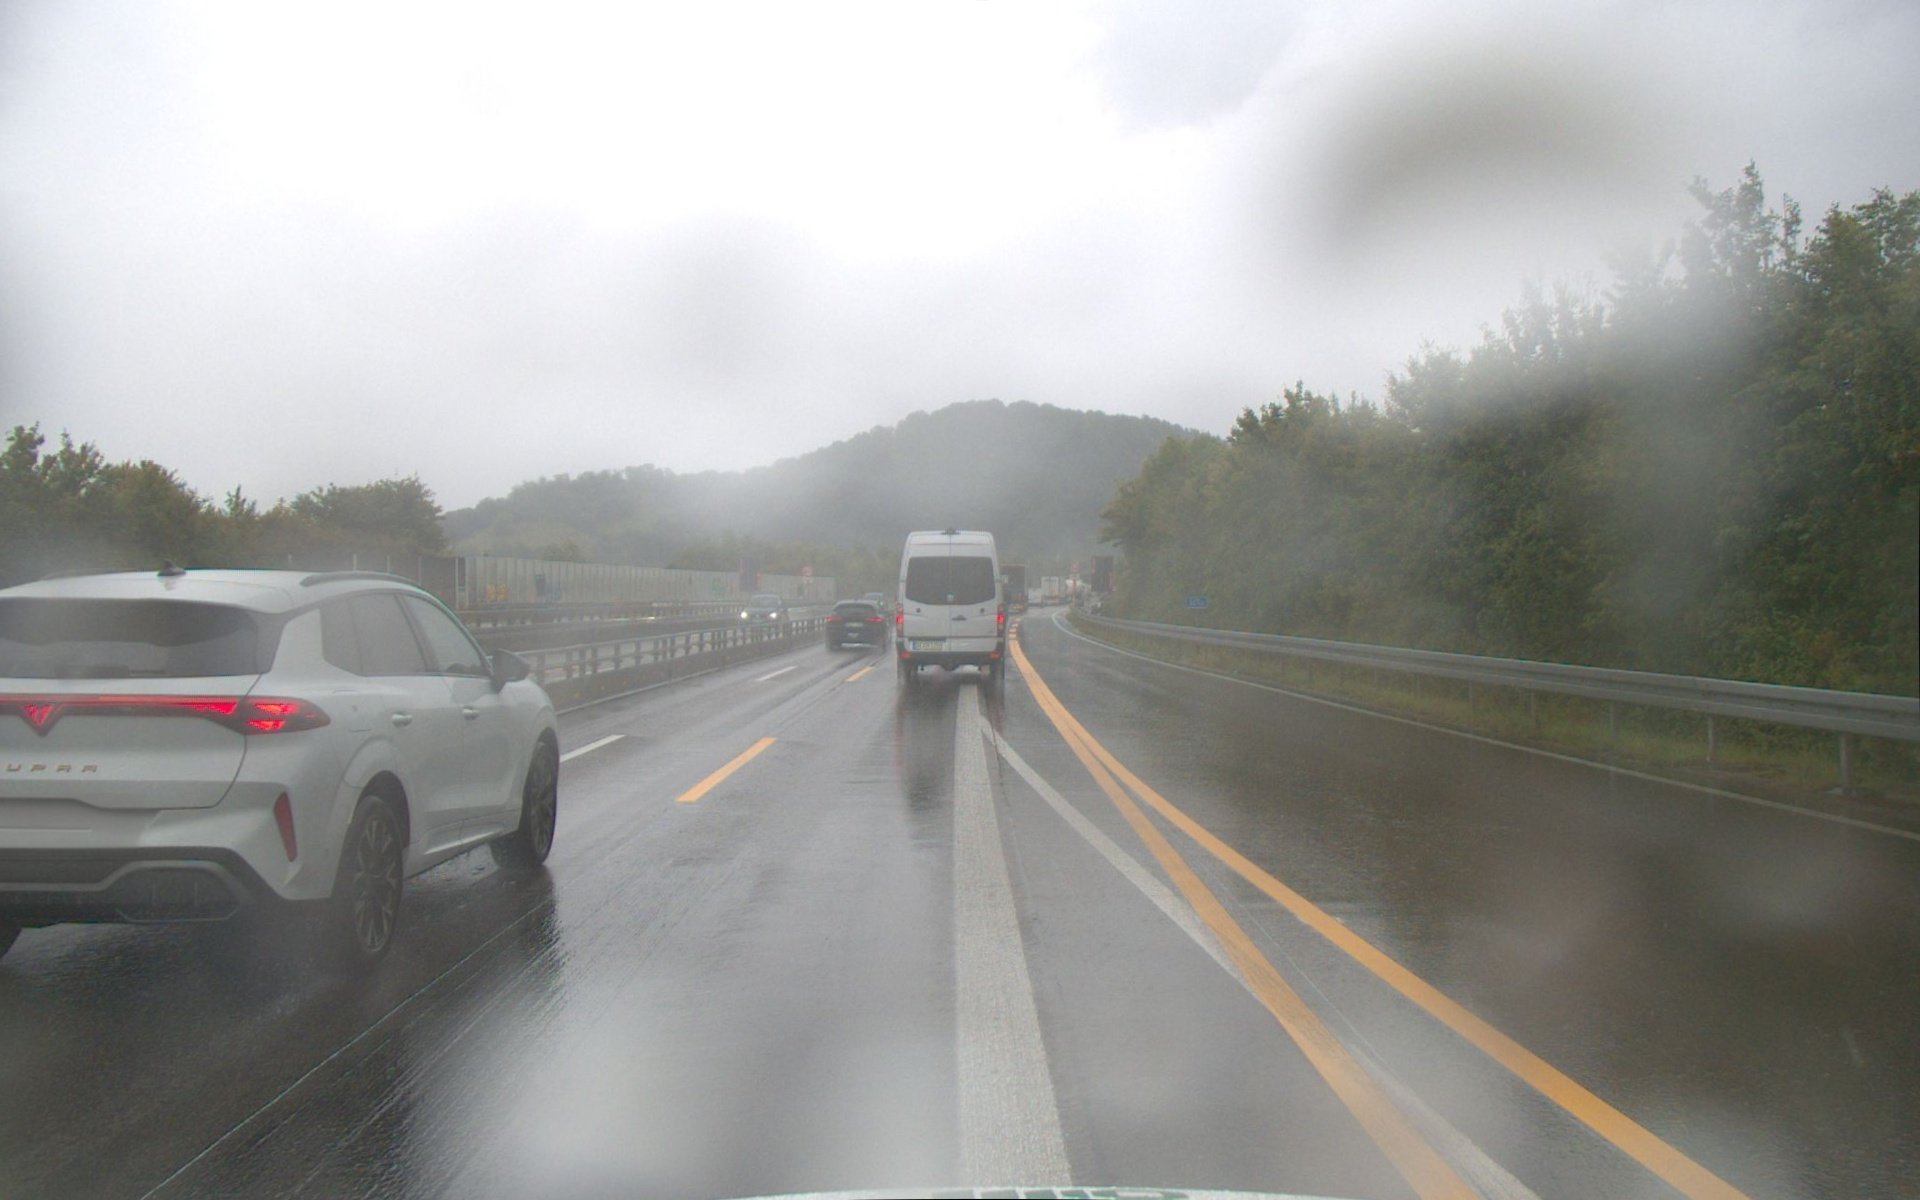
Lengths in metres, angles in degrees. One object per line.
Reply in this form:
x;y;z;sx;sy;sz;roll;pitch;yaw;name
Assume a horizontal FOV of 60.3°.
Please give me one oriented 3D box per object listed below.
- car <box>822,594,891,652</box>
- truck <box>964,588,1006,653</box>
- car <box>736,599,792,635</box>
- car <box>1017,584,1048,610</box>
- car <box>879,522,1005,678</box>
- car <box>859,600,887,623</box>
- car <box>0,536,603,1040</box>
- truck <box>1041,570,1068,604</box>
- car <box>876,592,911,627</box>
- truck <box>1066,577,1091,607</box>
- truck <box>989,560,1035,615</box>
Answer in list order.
-3.051;0.662;48.595;1.908;1.588;3.997;1;0;-4;car
1.350;1.029;85.510;1.952;3.163;8.500;1;0;2;truck
-8.689;0.762;73.689;1.809;1.529;4.131;1;0;2;car
8.377;-0.330;189.957;2.836;2.938;6.416;1;0;8;car
-0.259;0.015;30.858;2.101;2.616;5.390;1;0;1;car
-6.392;0.816;122.139;1.742;1.632;4.316;1;0;0;car
-3.184;0.624;7.853;1.953;1.646;4.795;1;0;-1;car
12.957;-1.738;226.394;2.971;4.483;9.631;1;0;7;truck
-3.269;0.475;81.763;1.672;1.656;3.998;1;0;-2;car
18.653;-1.194;260.664;2.836;4.483;9.632;1;0;10;truck
4.531;-0.976;141.381;3.506;4.483;9.628;1;0;4;truck
